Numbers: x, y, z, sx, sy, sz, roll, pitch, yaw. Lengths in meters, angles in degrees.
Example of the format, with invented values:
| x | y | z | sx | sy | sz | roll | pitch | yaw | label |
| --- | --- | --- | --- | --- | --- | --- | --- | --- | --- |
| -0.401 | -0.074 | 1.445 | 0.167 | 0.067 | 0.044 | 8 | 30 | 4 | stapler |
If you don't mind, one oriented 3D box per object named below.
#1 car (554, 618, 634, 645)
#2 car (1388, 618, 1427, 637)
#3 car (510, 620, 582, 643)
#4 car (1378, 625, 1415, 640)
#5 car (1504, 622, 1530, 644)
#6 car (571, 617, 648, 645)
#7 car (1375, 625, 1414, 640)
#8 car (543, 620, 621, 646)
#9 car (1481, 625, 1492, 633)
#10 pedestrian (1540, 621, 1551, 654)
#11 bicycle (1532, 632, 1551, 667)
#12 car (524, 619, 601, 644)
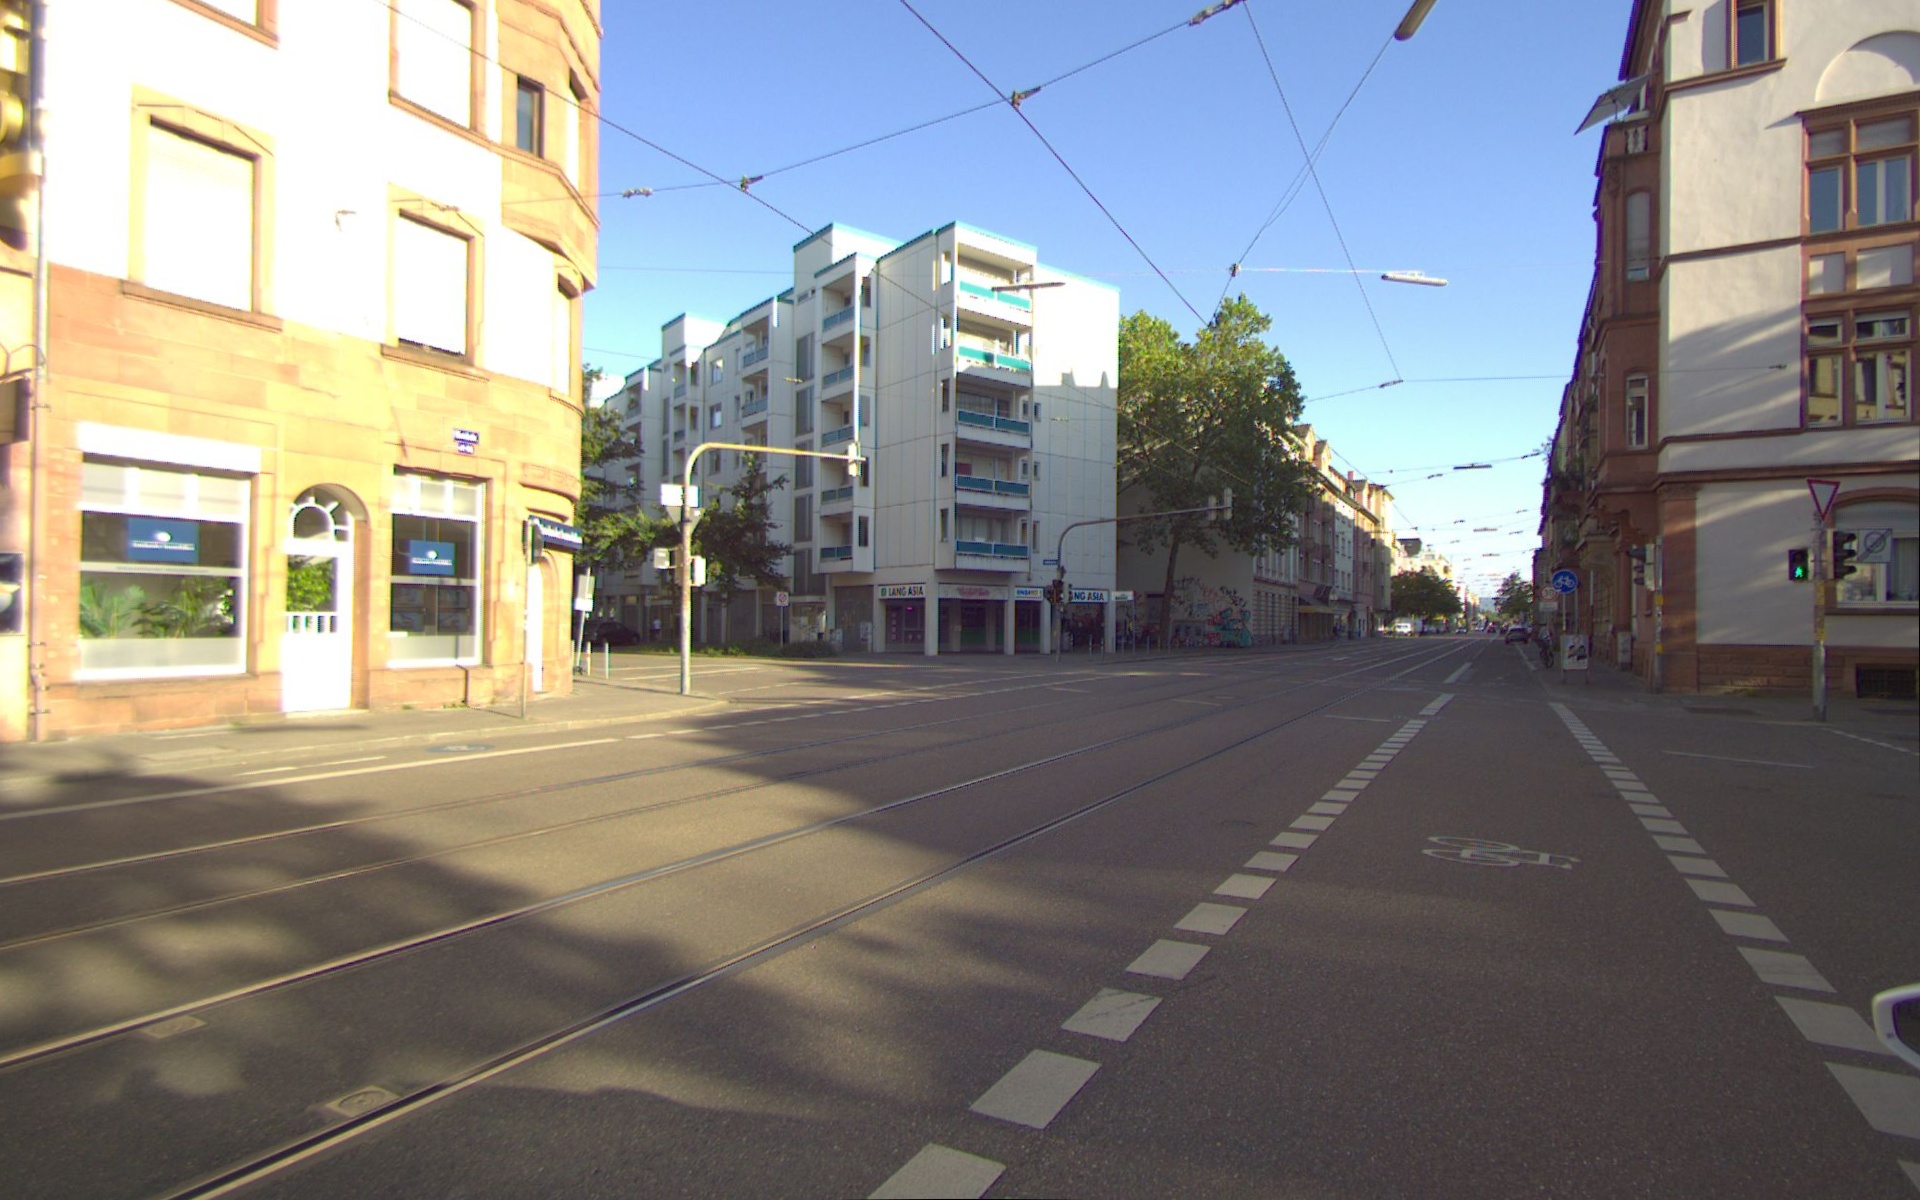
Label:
| x | y | z | sx | sy | sz | roll | pitch | yaw | label |
| --- | --- | --- | --- | --- | --- | --- | --- | --- | --- |
| -22.754 | 1.981 | 62.603 | 1.973 | 1.606 | 4.279 | 0 | -2 | 44 | car |
| 66.035 | 4.034 | 148.427 | 4.661 | 2.720 | 2.527 | 1 | -1 | 3 | car |
| -29.384 | 2.242 | 71.366 | 4.276 | 1.606 | 1.974 | 2 | -2 | -45 | car |
| 62.393 | 4.652 | 143.590 | 4.673 | 2.040 | 2.521 | 0 | -1 | 31 | car |
| 53.950 | 3.148 | 97.269 | 1.965 | 2.040 | 3.990 | 0 | -1 | 32 | car |
| -21.175 | 1.860 | 60.772 | 1.973 | 1.606 | 3.976 | 0 | -2 | 44 | car |
| 61.101 | 4.603 | 141.235 | 4.673 | 2.040 | 2.285 | 0 | -1 | 31 | car |
| -24.293 | 2.120 | 64.653 | 1.973 | 1.606 | 4.279 | 0 | -2 | 44 | car |
| 119.231 | 6.578 | 227.499 | 1.963 | 1.715 | 3.996 | 0 | -1 | 27 | car |
| 32.872 | 2.075 | 56.406 | 0.485 | 1.835 | 0.626 | 0 | -1 | 34 | pedestrian |
| 21.158 | 1.775 | 36.552 | 0.510 | 1.230 | 2.006 | 0 | -1 | 27 | bicycle |
| -26.165 | 2.075 | 66.164 | 1.973 | 1.606 | 4.279 | 0 | -2 | 44 | car |
